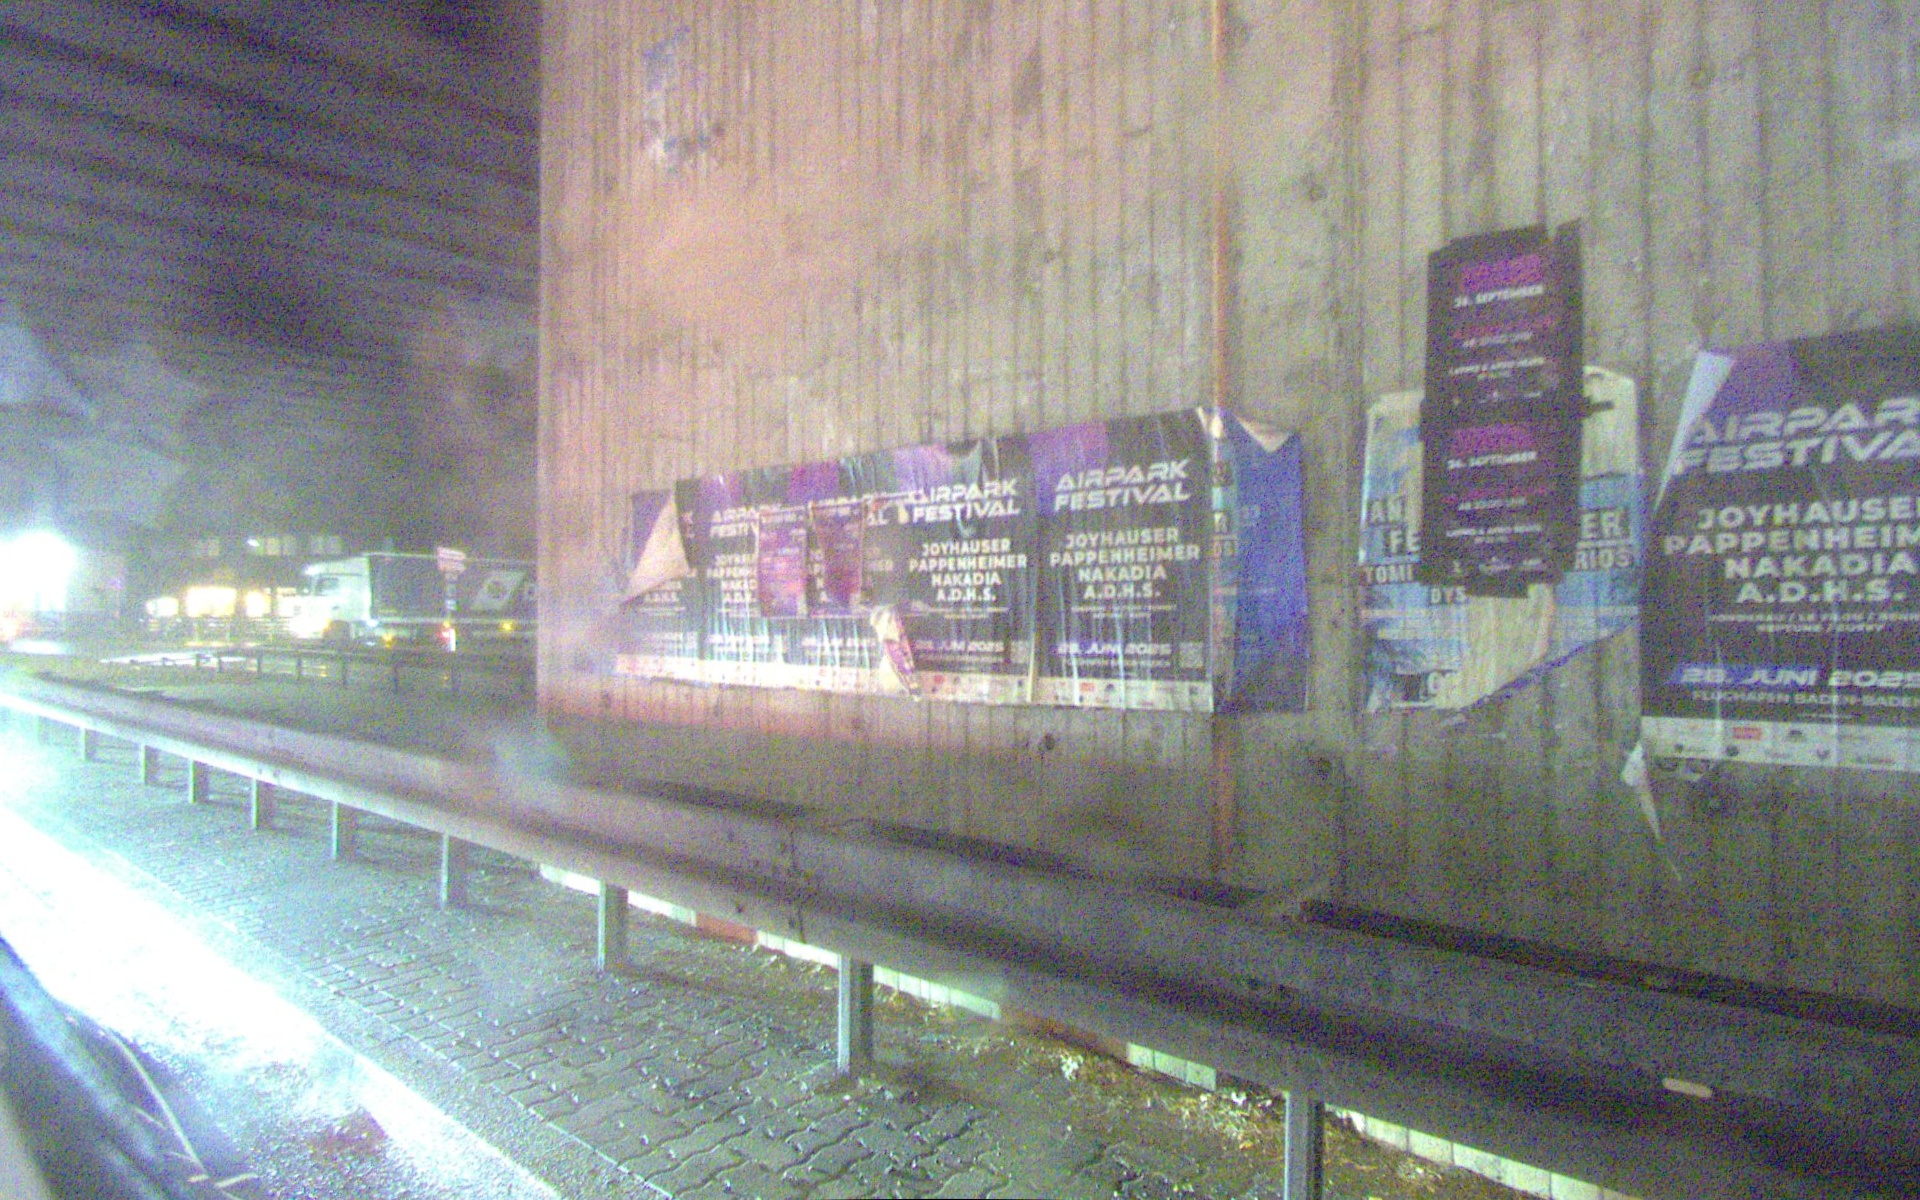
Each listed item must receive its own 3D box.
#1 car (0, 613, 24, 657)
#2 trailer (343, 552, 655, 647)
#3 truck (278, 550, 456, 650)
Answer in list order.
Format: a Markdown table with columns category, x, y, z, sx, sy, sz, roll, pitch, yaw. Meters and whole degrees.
| category | x | y | z | sx | sy | sz | roll | pitch | yaw |
| --- | --- | --- | --- | --- | --- | --- | --- | --- | --- |
| car | -37.109 | 1.319 | 37.648 | 3.975 | 1.617 | 1.984 | -1 | 0 | 24 |
| trailer | -22.600 | -0.075 | 50.760 | 13.712 | 4.208 | 3.973 | -1 | 0 | -44 |
| truck | -27.123 | -0.010 | 46.382 | 6.281 | 4.208 | 3.973 | -1 | 0 | -44 |
